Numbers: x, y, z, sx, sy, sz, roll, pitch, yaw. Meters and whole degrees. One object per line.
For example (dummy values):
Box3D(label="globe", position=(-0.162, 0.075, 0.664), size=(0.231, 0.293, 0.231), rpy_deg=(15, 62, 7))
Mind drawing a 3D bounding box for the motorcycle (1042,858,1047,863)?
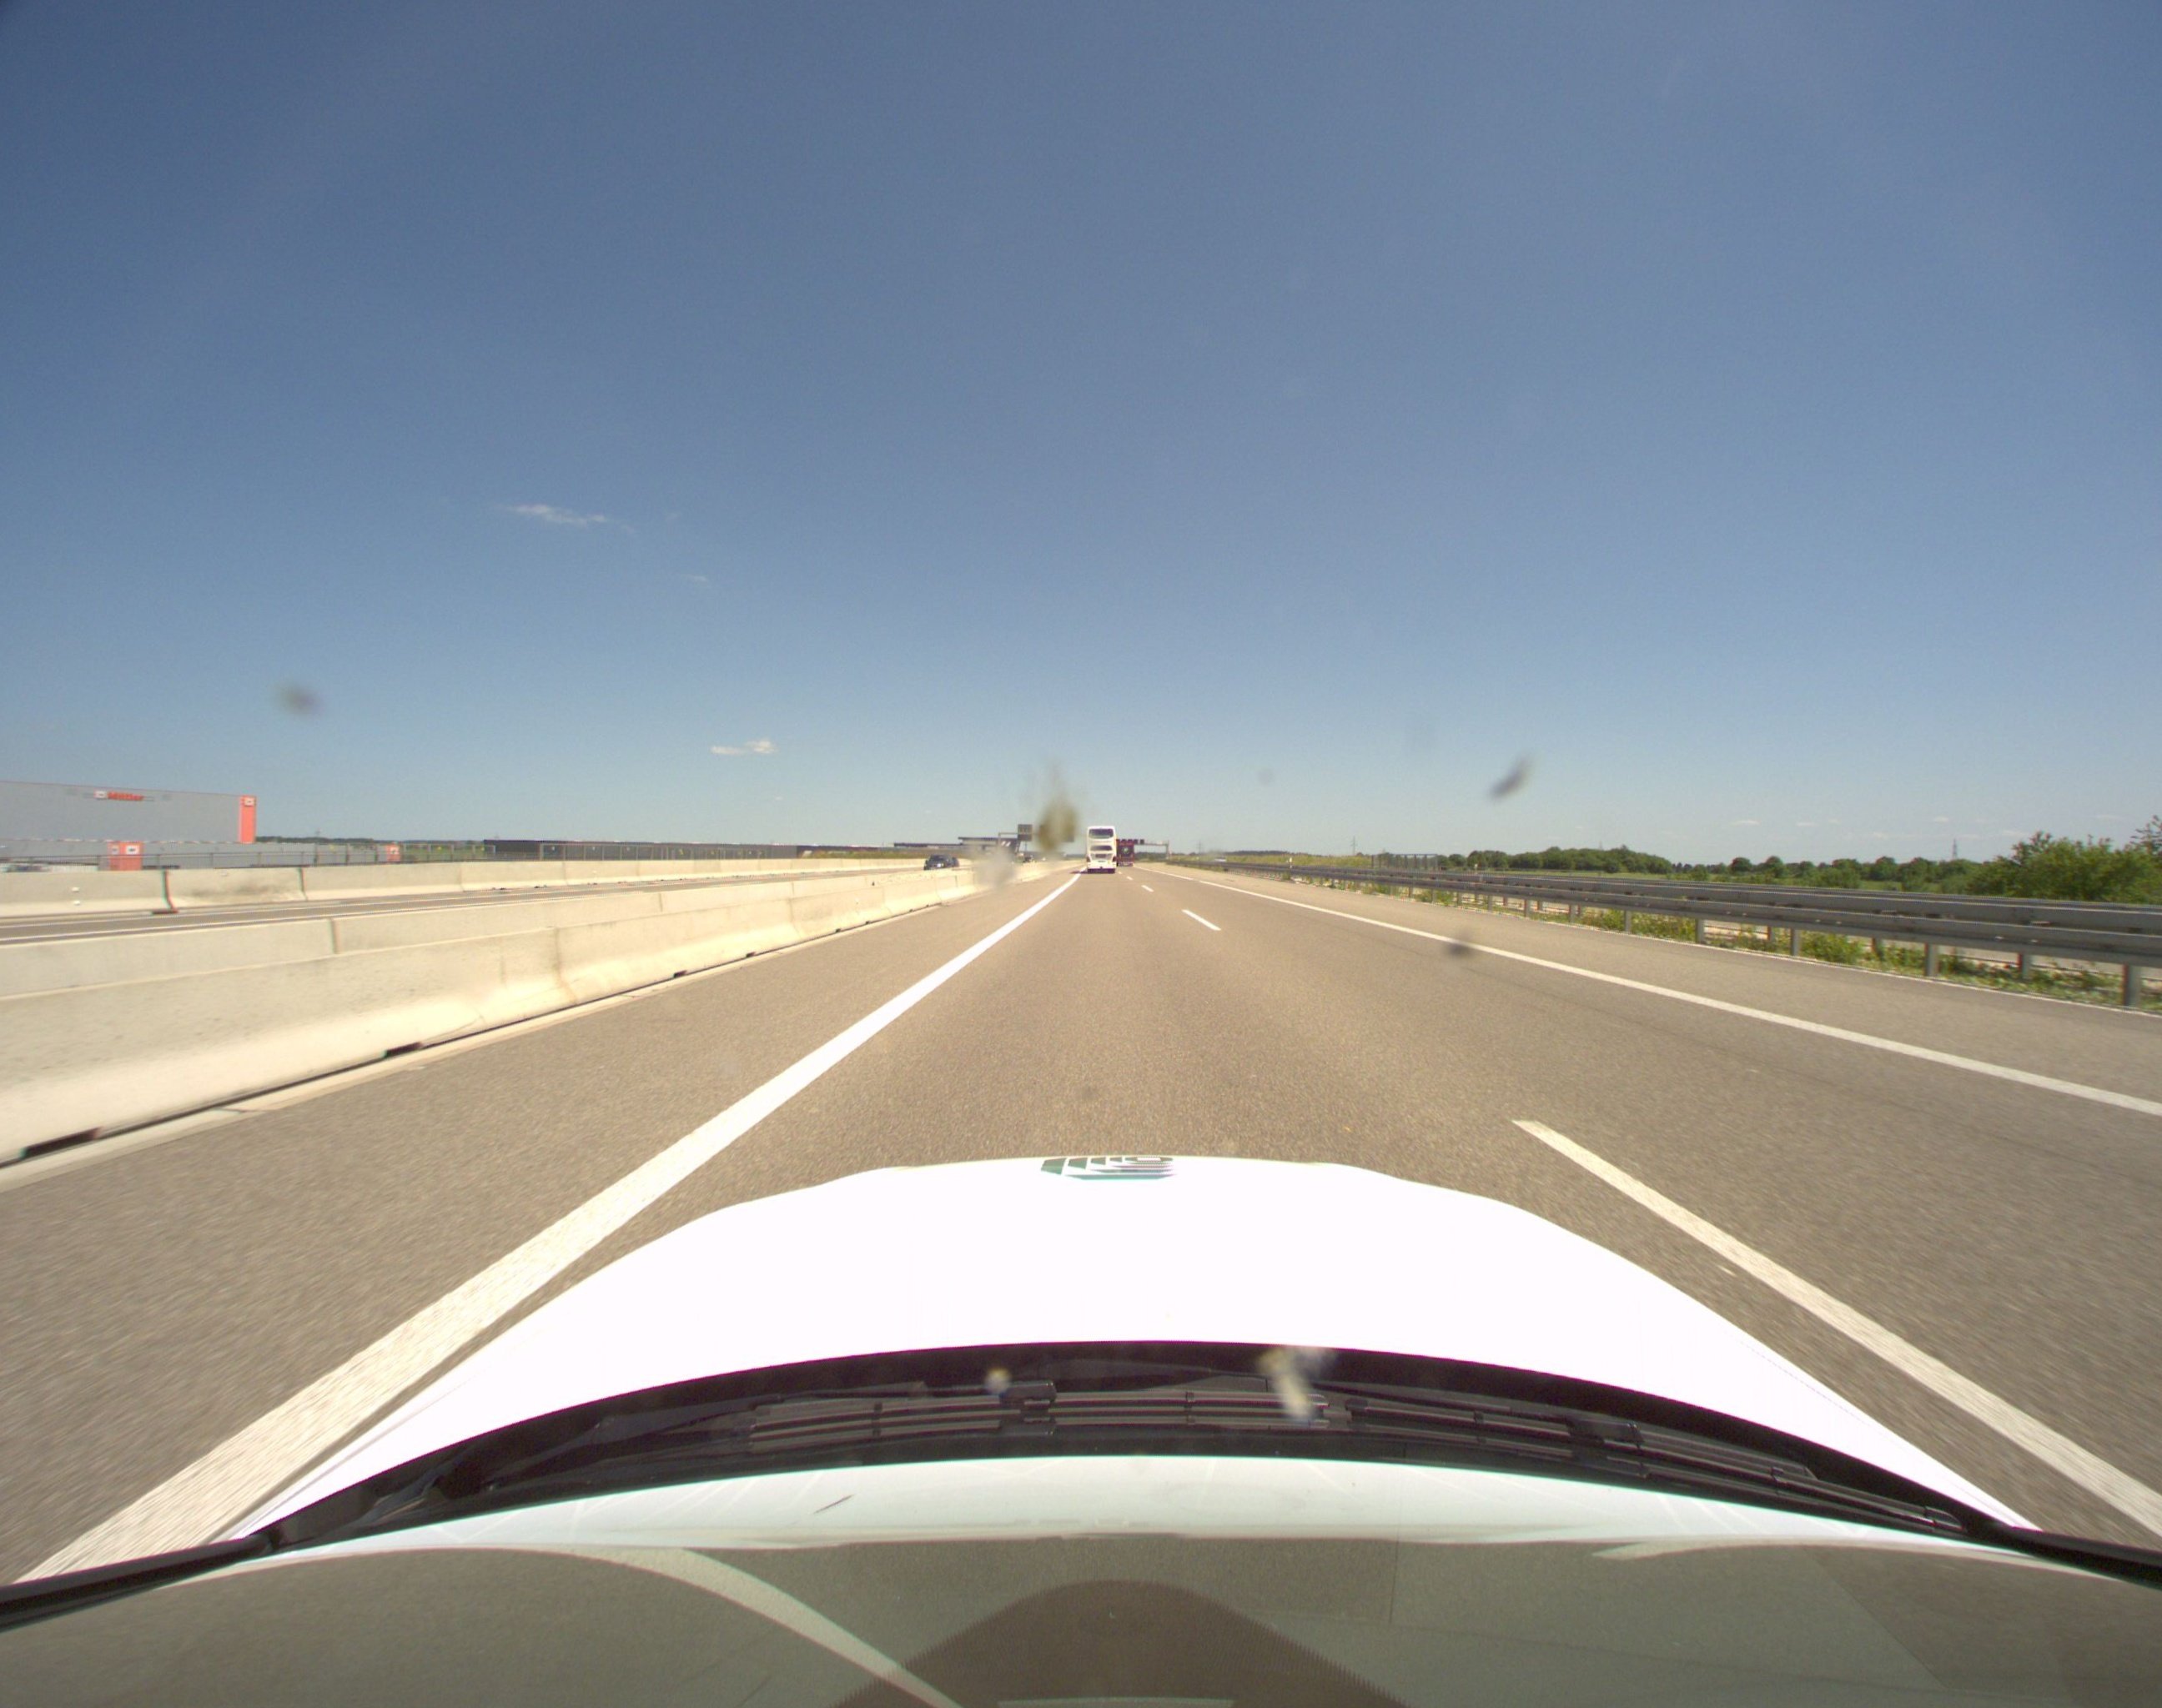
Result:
Box3D(label="motorcycle", position=(-8.084, 1.374, 182.123), size=(0.954, 1.169, 2.724), rpy_deg=(0, 0, 2))

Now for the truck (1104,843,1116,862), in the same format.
Box3D(label="truck", position=(5.891, -0.204, 165.706), size=(2.429, 3.789, 6.494), rpy_deg=(0, 0, 1))

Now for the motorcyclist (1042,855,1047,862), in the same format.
Box3D(label="motorcyclist", position=(-8.100, 0.939, 181.922), size=(0.916, 1.621, 1.088), rpy_deg=(0, -1, 2))

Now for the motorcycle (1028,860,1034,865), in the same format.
Box3D(label="motorcycle", position=(-8.976, 1.534, 147.377), size=(0.772, 0.902, 2.707), rpy_deg=(0, 0, 3))

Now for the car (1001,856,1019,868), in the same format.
Box3D(label="car", position=(-10.020, 1.187, 115.818), size=(1.986, 1.669, 4.651), rpy_deg=(0, 0, 2))

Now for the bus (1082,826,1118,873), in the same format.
Box3D(label="bus", position=(1.675, -0.398, 73.146), size=(2.970, 3.975, 9.105), rpy_deg=(0, 0, 1))

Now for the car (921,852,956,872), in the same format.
Box3D(label="car", position=(-12.055, 0.667, 69.170), size=(1.877, 1.686, 5.019), rpy_deg=(0, 0, 3))

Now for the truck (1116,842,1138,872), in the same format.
Box3D(label="truck", position=(7.456, 0.607, 131.488), size=(3.365, 4.464, 13.577), rpy_deg=(0, -2, 4))

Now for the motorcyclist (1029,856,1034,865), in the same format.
Box3D(label="motorcyclist", position=(-8.972, 1.161, 147.172), size=(0.914, 1.497, 0.923), rpy_deg=(0, 0, 2))

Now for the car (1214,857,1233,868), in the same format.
Box3D(label="car", position=(19.949, 1.205, 114.221), size=(1.884, 1.529, 4.262), rpy_deg=(0, 0, 0))
